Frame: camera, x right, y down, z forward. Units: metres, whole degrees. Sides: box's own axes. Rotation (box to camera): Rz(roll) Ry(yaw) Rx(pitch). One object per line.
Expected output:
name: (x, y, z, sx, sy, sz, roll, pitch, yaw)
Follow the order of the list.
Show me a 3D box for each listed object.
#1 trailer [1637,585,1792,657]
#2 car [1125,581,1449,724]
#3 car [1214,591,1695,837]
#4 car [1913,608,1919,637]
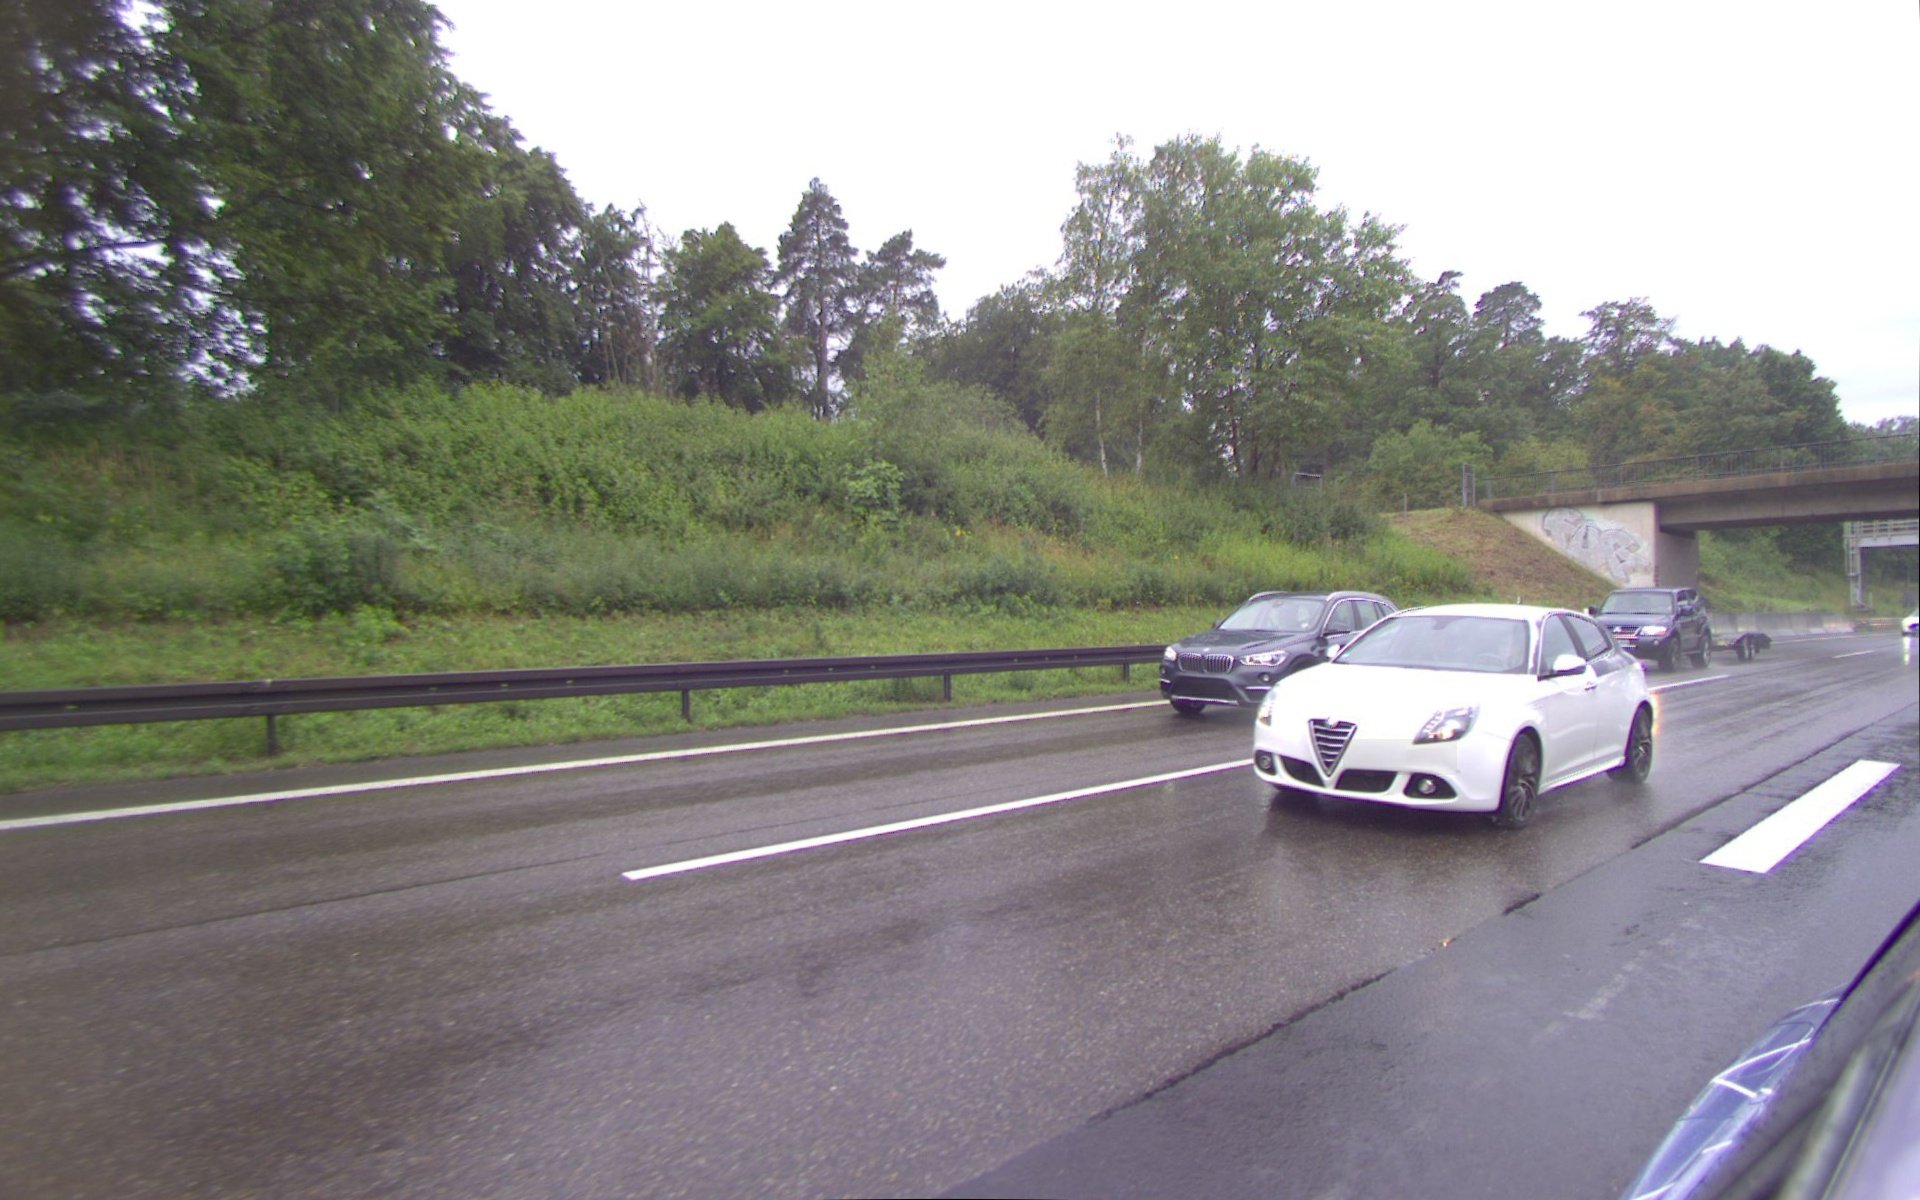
trailer: (20.178, 0.507, 26.992, 4.992, 1.736, 2.247, 0, 0, -40)
car: (4.512, 0.585, 13.594, 4.682, 1.604, 1.994, 0, 0, -40)
car: (4.133, 0.665, 8.113, 4.404, 1.443, 1.893, 0, 0, -41)
car: (49.141, 1.103, 50.552, 4.153, 1.425, 1.794, 0, 0, -40)
